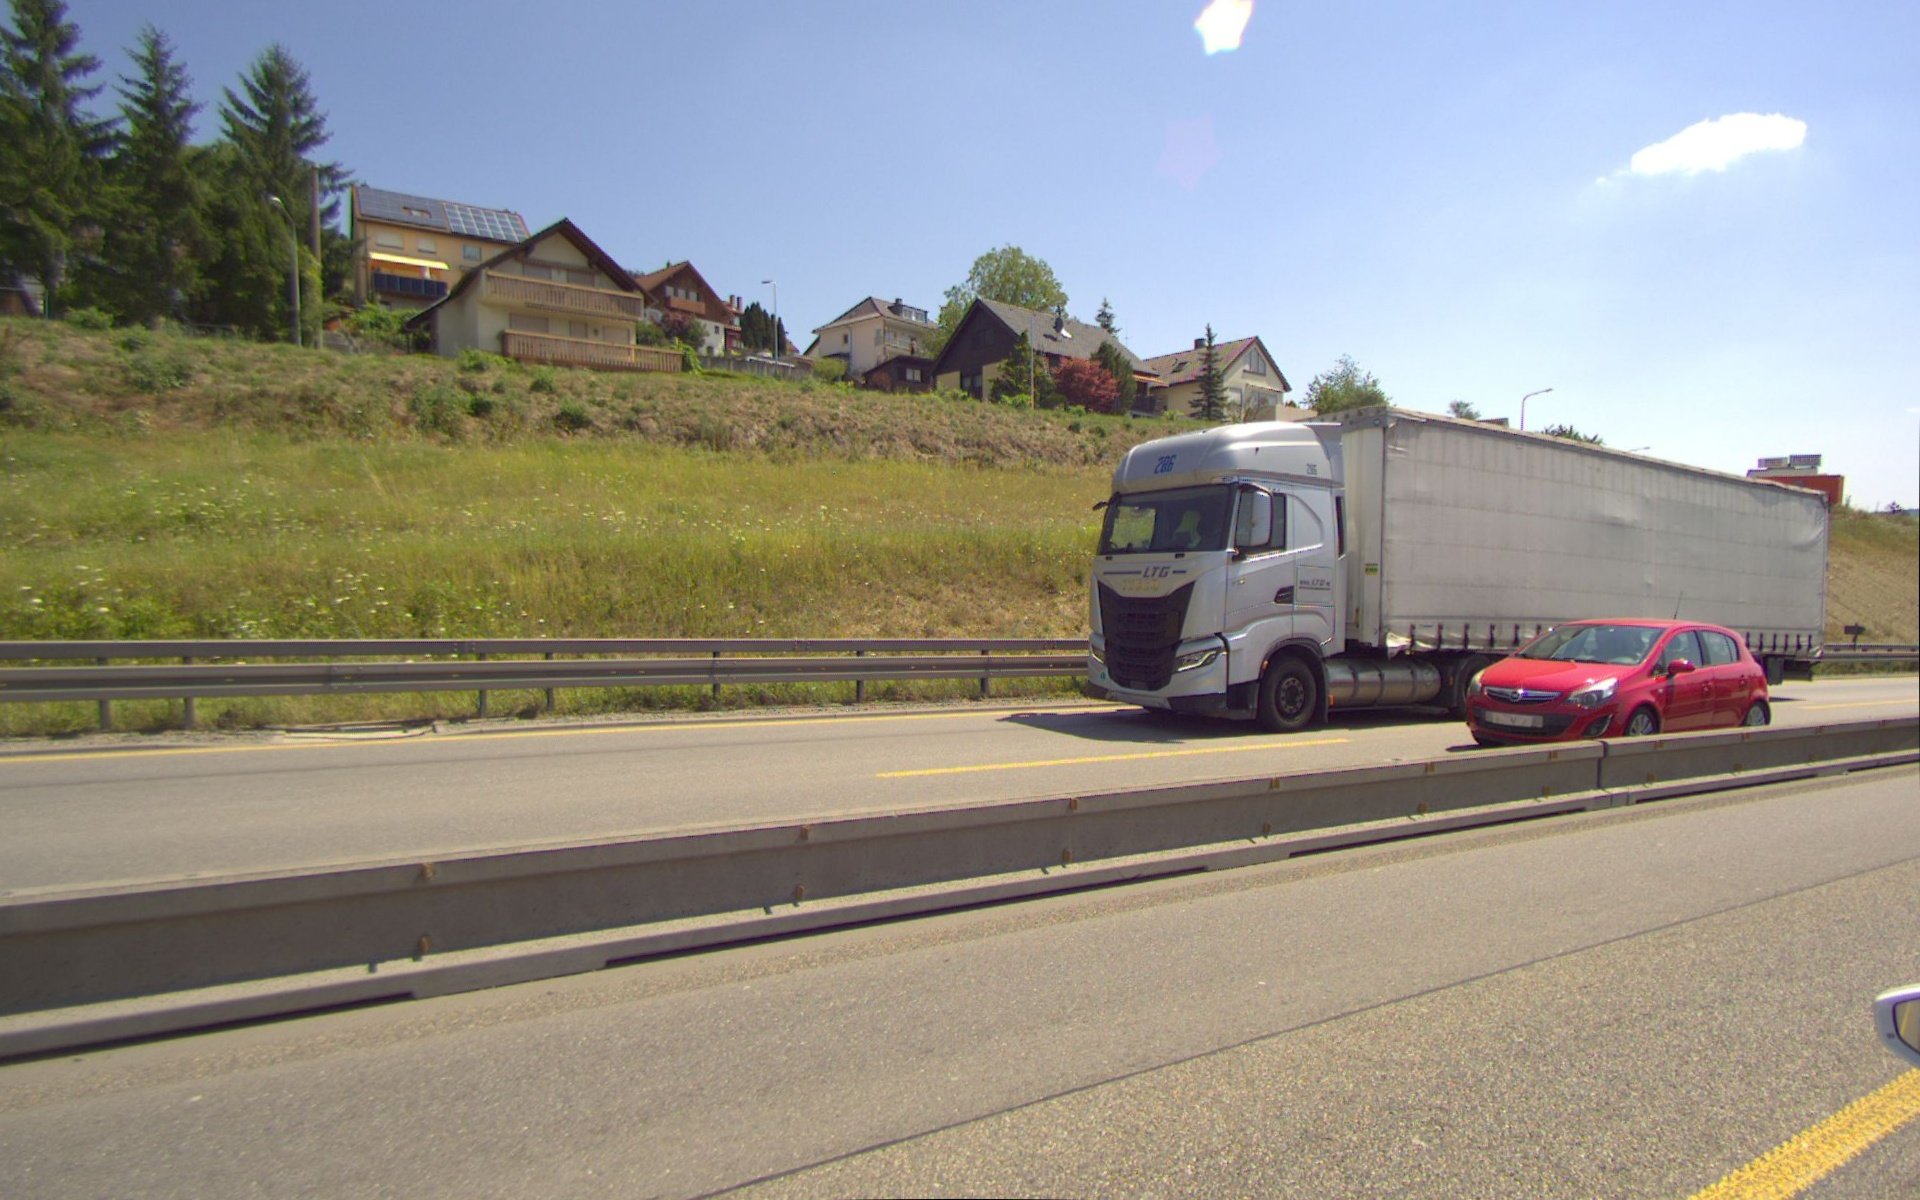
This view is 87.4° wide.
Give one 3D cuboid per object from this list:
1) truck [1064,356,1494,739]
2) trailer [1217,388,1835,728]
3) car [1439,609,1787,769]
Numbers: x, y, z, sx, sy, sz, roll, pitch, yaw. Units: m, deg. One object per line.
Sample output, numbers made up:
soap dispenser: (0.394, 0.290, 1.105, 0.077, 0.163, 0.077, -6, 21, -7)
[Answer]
truck: (4.362, -0.544, 13.639, 5.226, 4.238, 2.732, 1, 0, -30)
trailer: (10.466, -0.399, 17.290, 13.817, 4.238, 2.772, 1, 0, -31)
car: (7.317, 0.882, 11.177, 3.953, 1.486, 1.661, 1, 0, -30)
